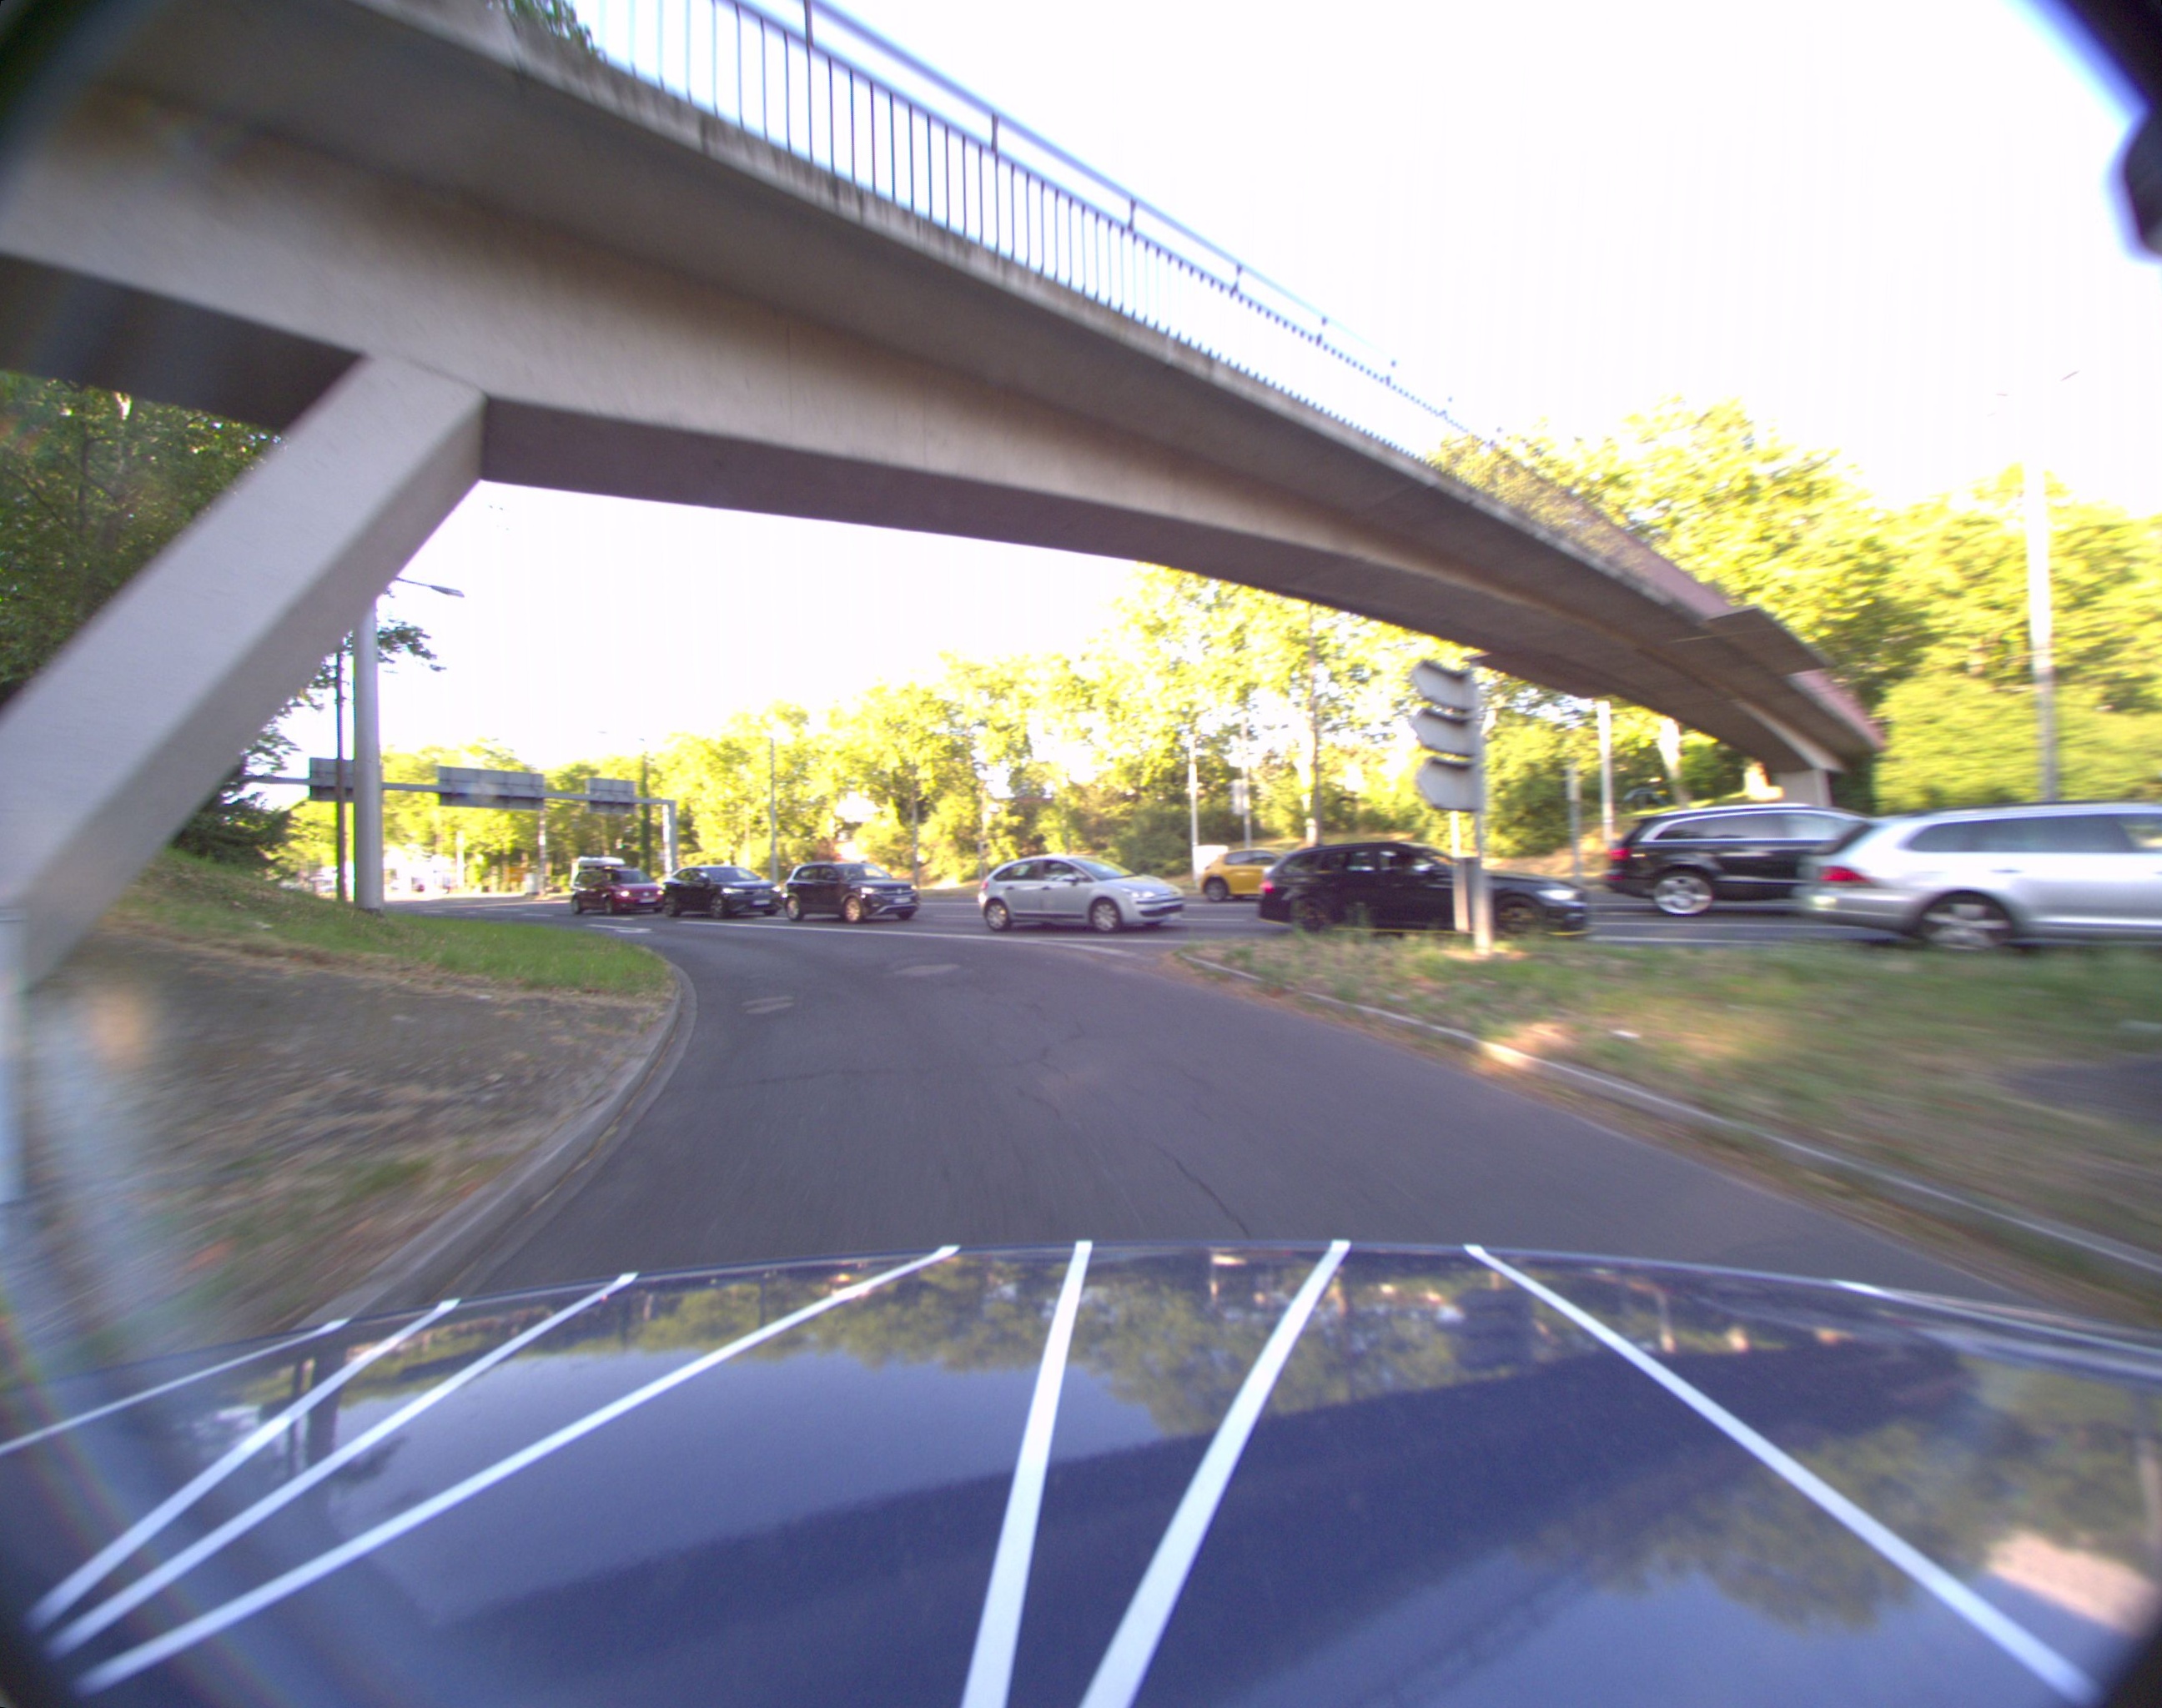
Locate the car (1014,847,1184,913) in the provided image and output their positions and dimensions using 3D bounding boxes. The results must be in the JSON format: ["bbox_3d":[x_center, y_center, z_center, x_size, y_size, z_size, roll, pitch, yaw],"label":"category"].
[{"bbox_3d":[0.392,0.723,19.722,4.179,1.555,1.672,-3,-3,36],"label":"car"}]

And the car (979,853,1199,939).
[{"bbox_3d":[0.086,0.818,14.857,3.989,1.472,1.802,-3,-3,36],"label":"car"}]

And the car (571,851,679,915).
[{"bbox_3d":[-16.041,1.062,26.664,3.989,2.092,1.802,-3,-3,36],"label":"car"}]

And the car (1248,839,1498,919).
[{"bbox_3d":[5.874,0.521,15.537,4.399,1.424,1.751,-3,0,36],"label":"car"}]

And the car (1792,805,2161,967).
[{"bbox_3d":[9.942,0.312,7.538,3.989,1.433,1.802,-3,-3,36],"label":"car"}]

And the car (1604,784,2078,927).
[{"bbox_3d":[11.078,0.093,11.676,4.813,1.781,1.801,-3,0,39],"label":"car"}]

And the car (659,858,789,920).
[{"bbox_3d":[-10.946,1.084,23.205,4.229,1.739,1.802,-3,-3,36],"label":"car"}]

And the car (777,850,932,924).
[{"bbox_3d":[-5.933,0.884,19.768,3.989,1.739,1.802,-3,-3,36],"label":"car"}]

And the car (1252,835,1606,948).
[{"bbox_3d":[5.021,0.575,11.279,4.464,1.374,1.802,-3,-3,36],"label":"car"}]

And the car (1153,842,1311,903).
[{"bbox_3d":[4.195,0.574,21.358,3.989,1.555,1.672,-3,-3,36],"label":"car"}]
